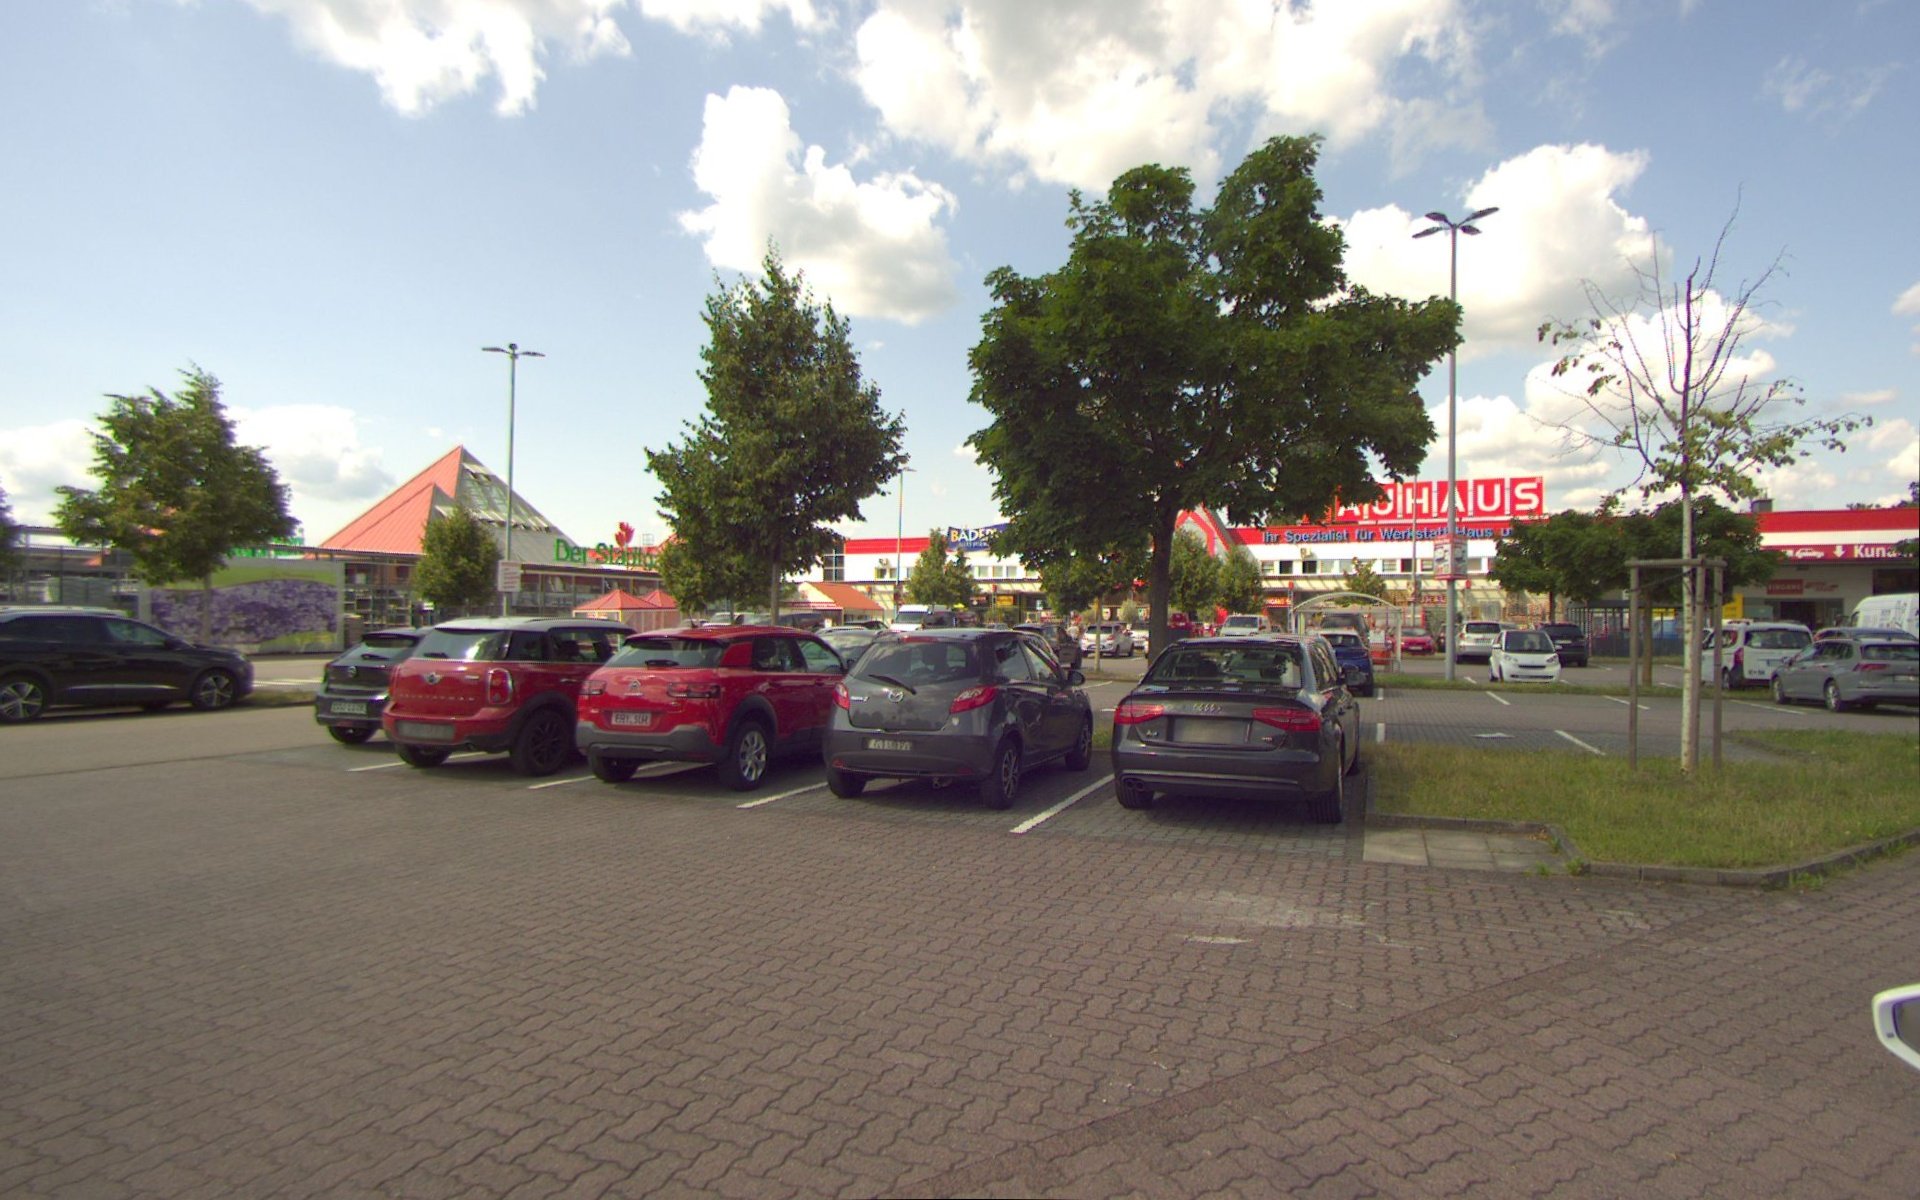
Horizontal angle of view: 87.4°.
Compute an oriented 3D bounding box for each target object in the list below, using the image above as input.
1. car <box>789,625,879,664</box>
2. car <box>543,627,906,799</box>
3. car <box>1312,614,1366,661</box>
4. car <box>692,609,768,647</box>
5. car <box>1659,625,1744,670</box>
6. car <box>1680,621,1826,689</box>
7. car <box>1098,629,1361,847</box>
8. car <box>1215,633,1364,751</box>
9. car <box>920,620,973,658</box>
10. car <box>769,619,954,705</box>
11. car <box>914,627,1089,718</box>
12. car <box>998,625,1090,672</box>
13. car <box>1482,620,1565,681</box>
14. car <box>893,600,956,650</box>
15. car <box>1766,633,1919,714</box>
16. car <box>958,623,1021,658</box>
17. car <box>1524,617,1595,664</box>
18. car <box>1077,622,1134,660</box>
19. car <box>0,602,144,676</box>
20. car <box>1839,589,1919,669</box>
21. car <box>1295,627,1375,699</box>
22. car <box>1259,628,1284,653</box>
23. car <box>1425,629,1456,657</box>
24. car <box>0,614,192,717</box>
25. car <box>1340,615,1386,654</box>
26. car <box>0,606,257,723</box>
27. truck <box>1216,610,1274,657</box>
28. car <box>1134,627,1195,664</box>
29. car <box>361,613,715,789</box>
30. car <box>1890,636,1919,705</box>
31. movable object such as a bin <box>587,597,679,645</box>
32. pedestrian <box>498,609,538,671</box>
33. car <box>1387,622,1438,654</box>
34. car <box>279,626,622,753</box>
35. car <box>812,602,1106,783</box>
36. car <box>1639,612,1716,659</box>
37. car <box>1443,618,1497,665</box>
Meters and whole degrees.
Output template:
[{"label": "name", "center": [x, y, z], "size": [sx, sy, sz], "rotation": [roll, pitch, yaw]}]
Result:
[{"label": "car", "center": [-4.697, 1.646, 37.818], "size": [1.711, 1.405, 3.558], "rotation": [0, -2, 25]}, {"label": "car", "center": [-2.198, 1.009, 10.612], "size": [1.732, 1.417, 4.088], "rotation": [0, -1, 21]}, {"label": "car", "center": [15.400, 1.506, 40.924], "size": [1.961, 1.802, 4.000], "rotation": [0, -1, 20]}, {"label": "car", "center": [-13.693, 1.676, 60.142], "size": [1.961, 2.040, 4.806], "rotation": [3, -1, 22]}, {"label": "car", "center": [26.701, 1.684, 36.281], "size": [1.513, 1.424, 3.625], "rotation": [3, -1, 22]}, {"label": "car", "center": [20.568, 1.366, 26.247], "size": [1.873, 1.617, 4.000], "rotation": [0, -2, 21]}, {"label": "car", "center": [2.707, 1.006, 9.233], "size": [1.738, 1.451, 4.541], "rotation": [0, -1, 23]}, {"label": "car", "center": [4.942, 1.237, 14.874], "size": [1.758, 1.369, 4.066], "rotation": [4, 0, 21]}, {"label": "car", "center": [-0.607, 1.821, 47.083], "size": [1.663, 1.635, 2.658], "rotation": [3, 0, 18]}, {"label": "car", "center": [-1.714, 1.099, 18.823], "size": [1.789, 1.300, 3.891], "rotation": [3, -1, 22]}, {"label": "car", "center": [0.877, 1.186, 17.765], "size": [1.857, 1.370, 4.281], "rotation": [0, -2, 20]}, {"label": "car", "center": [2.991, 1.631, 34.774], "size": [1.961, 1.487, 4.415], "rotation": [0, -2, 22]}, {"label": "car", "center": [16.238, 1.409, 29.106], "size": [1.687, 1.617, 3.998], "rotation": [0, -2, 23]}, {"label": "car", "center": [-1.954, 1.438, 56.765], "size": [2.194, 2.671, 4.331], "rotation": [1, -1, 18]}, {"label": "car", "center": [18.260, 1.431, 20.445], "size": [1.691, 1.465, 3.774], "rotation": [0, -1, 19]}, {"label": "car", "center": [1.604, 2.154, 53.330], "size": [1.961, 1.653, 3.999], "rotation": [3, -1, 22]}, {"label": "car", "center": [22.546, 1.490, 37.876], "size": [1.731, 1.545, 3.468], "rotation": [-1, 1, 22]}, {"label": "car", "center": [6.436, 1.788, 44.156], "size": [1.694, 1.528, 3.237], "rotation": [3, -1, 21]}, {"label": "car", "center": [-27.019, 1.109, 28.867], "size": [1.962, 2.040, 5.185], "rotation": [0, -2, 23]}, {"label": "car", "center": [32.168, 0.967, 34.158], "size": [2.013, 2.543, 4.726], "rotation": [1, 0, 23]}, {"label": "car", "center": [9.221, 1.490, 24.850], "size": [1.717, 1.636, 3.725], "rotation": [0, -2, 19]}, {"label": "car", "center": [18.315, 2.343, 58.975], "size": [1.362, 1.416, 3.400], "rotation": [0, -2, 18]}, {"label": "car", "center": [26.396, 2.360, 55.186], "size": [1.140, 1.443, 2.539], "rotation": [3, 0, 18]}, {"label": "car", "center": [-15.812, 1.074, 17.343], "size": [1.748, 1.646, 3.708], "rotation": [0, -1, 18]}, {"label": "car", "center": [22.901, 1.950, 56.981], "size": [1.963, 2.040, 3.995], "rotation": [3, -1, 28]}, {"label": "car", "center": [-13.796, 0.945, 15.905], "size": [1.749, 1.646, 4.084], "rotation": [0, -1, 20]}, {"label": "truck", "center": [13.964, 1.630, 49.005], "size": [1.825, 2.040, 5.405], "rotation": [3, -1, 25]}, {"label": "car", "center": [8.951, 1.944, 43.706], "size": [1.961, 1.529, 4.000], "rotation": [0, -2, 21]}, {"label": "car", "center": [-4.433, 0.971, 11.099], "size": [1.676, 1.602, 3.447], "rotation": [0, -1, 21]}, {"label": "car", "center": [20.899, 1.468, 20.135], "size": [1.792, 1.458, 4.091], "rotation": [0, -1, 19]}, {"label": "movable object such as a bin", "center": [-18.149, 1.183, 56.088], "size": [2.088, 2.527, 5.339], "rotation": [0, -1, 18]}, {"label": "pedestrian", "center": [-14.817, 1.328, 33.685], "size": [0.801, 2.040, 0.915], "rotation": [0, -1, 21]}, {"label": "car", "center": [20.305, 1.696, 45.202], "size": [1.708, 1.357, 3.467], "rotation": [0, -1, 18]}, {"label": "car", "center": [-6.445, 1.046, 13.219], "size": [1.695, 1.387, 3.884], "rotation": [0, -2, 21]}, {"label": "car", "center": [0.228, 0.762, 9.827], "size": [1.548, 1.387, 4.000], "rotation": [0, -2, 21]}, {"label": "car", "center": [34.863, 1.718, 48.941], "size": [1.961, 2.040, 4.000], "rotation": [3, 0, 20]}, {"label": "car", "center": [19.940, 1.619, 39.378], "size": [1.571, 1.766, 3.166], "rotation": [-1, -2, 22]}]
